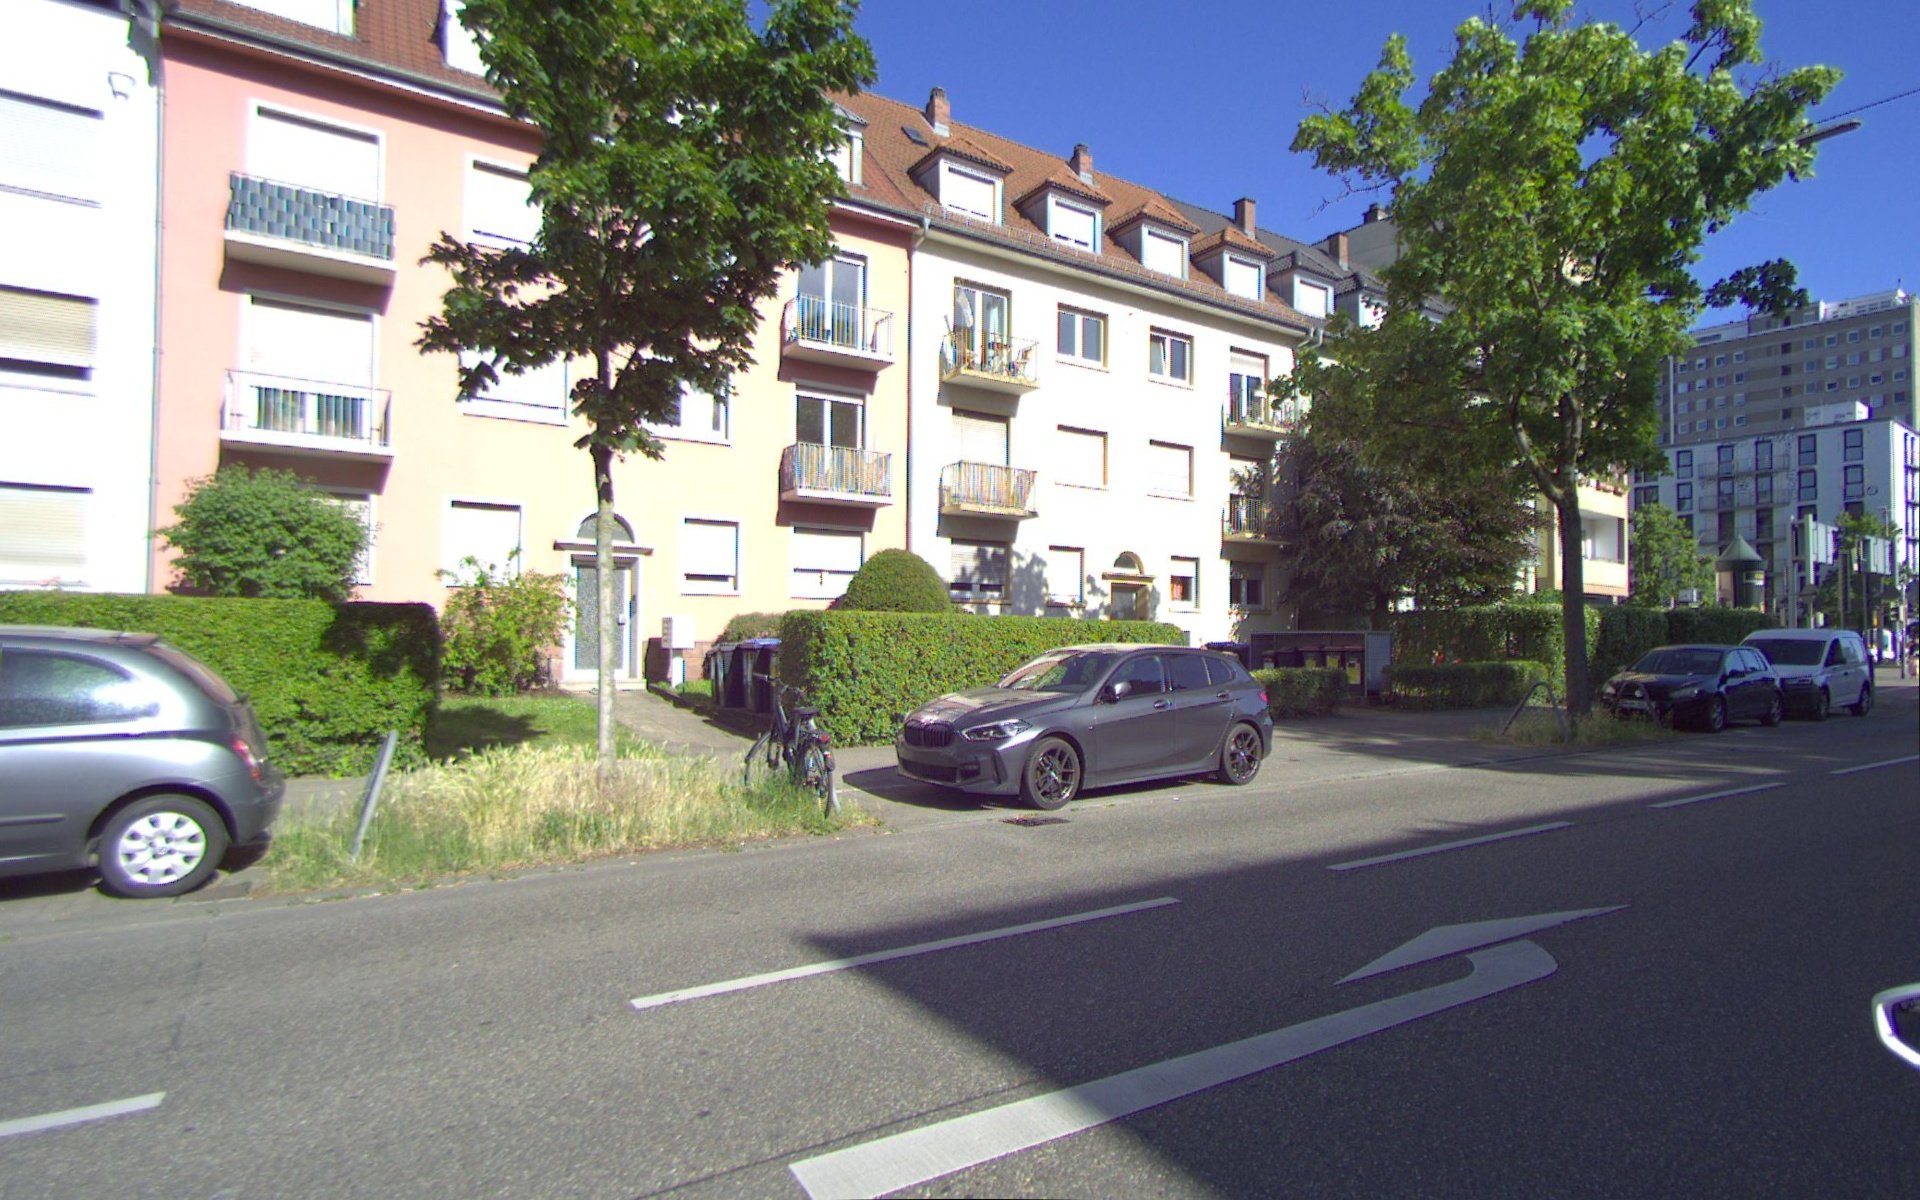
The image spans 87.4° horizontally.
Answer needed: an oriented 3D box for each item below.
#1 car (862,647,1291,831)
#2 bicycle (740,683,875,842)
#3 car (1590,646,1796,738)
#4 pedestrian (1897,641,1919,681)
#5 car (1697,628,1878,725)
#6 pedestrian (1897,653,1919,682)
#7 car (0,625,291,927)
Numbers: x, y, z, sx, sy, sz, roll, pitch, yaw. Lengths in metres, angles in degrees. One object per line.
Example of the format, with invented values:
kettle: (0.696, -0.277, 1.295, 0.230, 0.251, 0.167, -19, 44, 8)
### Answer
car: (1.307, 1.223, 10.191, 4.325, 1.427, 1.755, 1, -2, -37)
bicycle: (-1.315, 1.300, 8.438, 0.542, 1.149, 1.534, 1, -3, -33)
car: (13.380, 1.595, 18.279, 4.065, 1.476, 1.662, 2, -2, -32)
pedestrian: (40.191, 2.572, 42.309, 0.815, 1.671, 0.677, 0, -2, 14)
car: (17.511, 1.532, 21.201, 4.516, 1.858, 1.807, 2, -2, -35)
pedestrian: (39.359, 2.804, 41.571, 0.651, 1.181, 0.676, -1, -2, 25)
car: (-5.977, 0.936, 5.645, 3.624, 1.546, 1.663, 1, 0, -37)
